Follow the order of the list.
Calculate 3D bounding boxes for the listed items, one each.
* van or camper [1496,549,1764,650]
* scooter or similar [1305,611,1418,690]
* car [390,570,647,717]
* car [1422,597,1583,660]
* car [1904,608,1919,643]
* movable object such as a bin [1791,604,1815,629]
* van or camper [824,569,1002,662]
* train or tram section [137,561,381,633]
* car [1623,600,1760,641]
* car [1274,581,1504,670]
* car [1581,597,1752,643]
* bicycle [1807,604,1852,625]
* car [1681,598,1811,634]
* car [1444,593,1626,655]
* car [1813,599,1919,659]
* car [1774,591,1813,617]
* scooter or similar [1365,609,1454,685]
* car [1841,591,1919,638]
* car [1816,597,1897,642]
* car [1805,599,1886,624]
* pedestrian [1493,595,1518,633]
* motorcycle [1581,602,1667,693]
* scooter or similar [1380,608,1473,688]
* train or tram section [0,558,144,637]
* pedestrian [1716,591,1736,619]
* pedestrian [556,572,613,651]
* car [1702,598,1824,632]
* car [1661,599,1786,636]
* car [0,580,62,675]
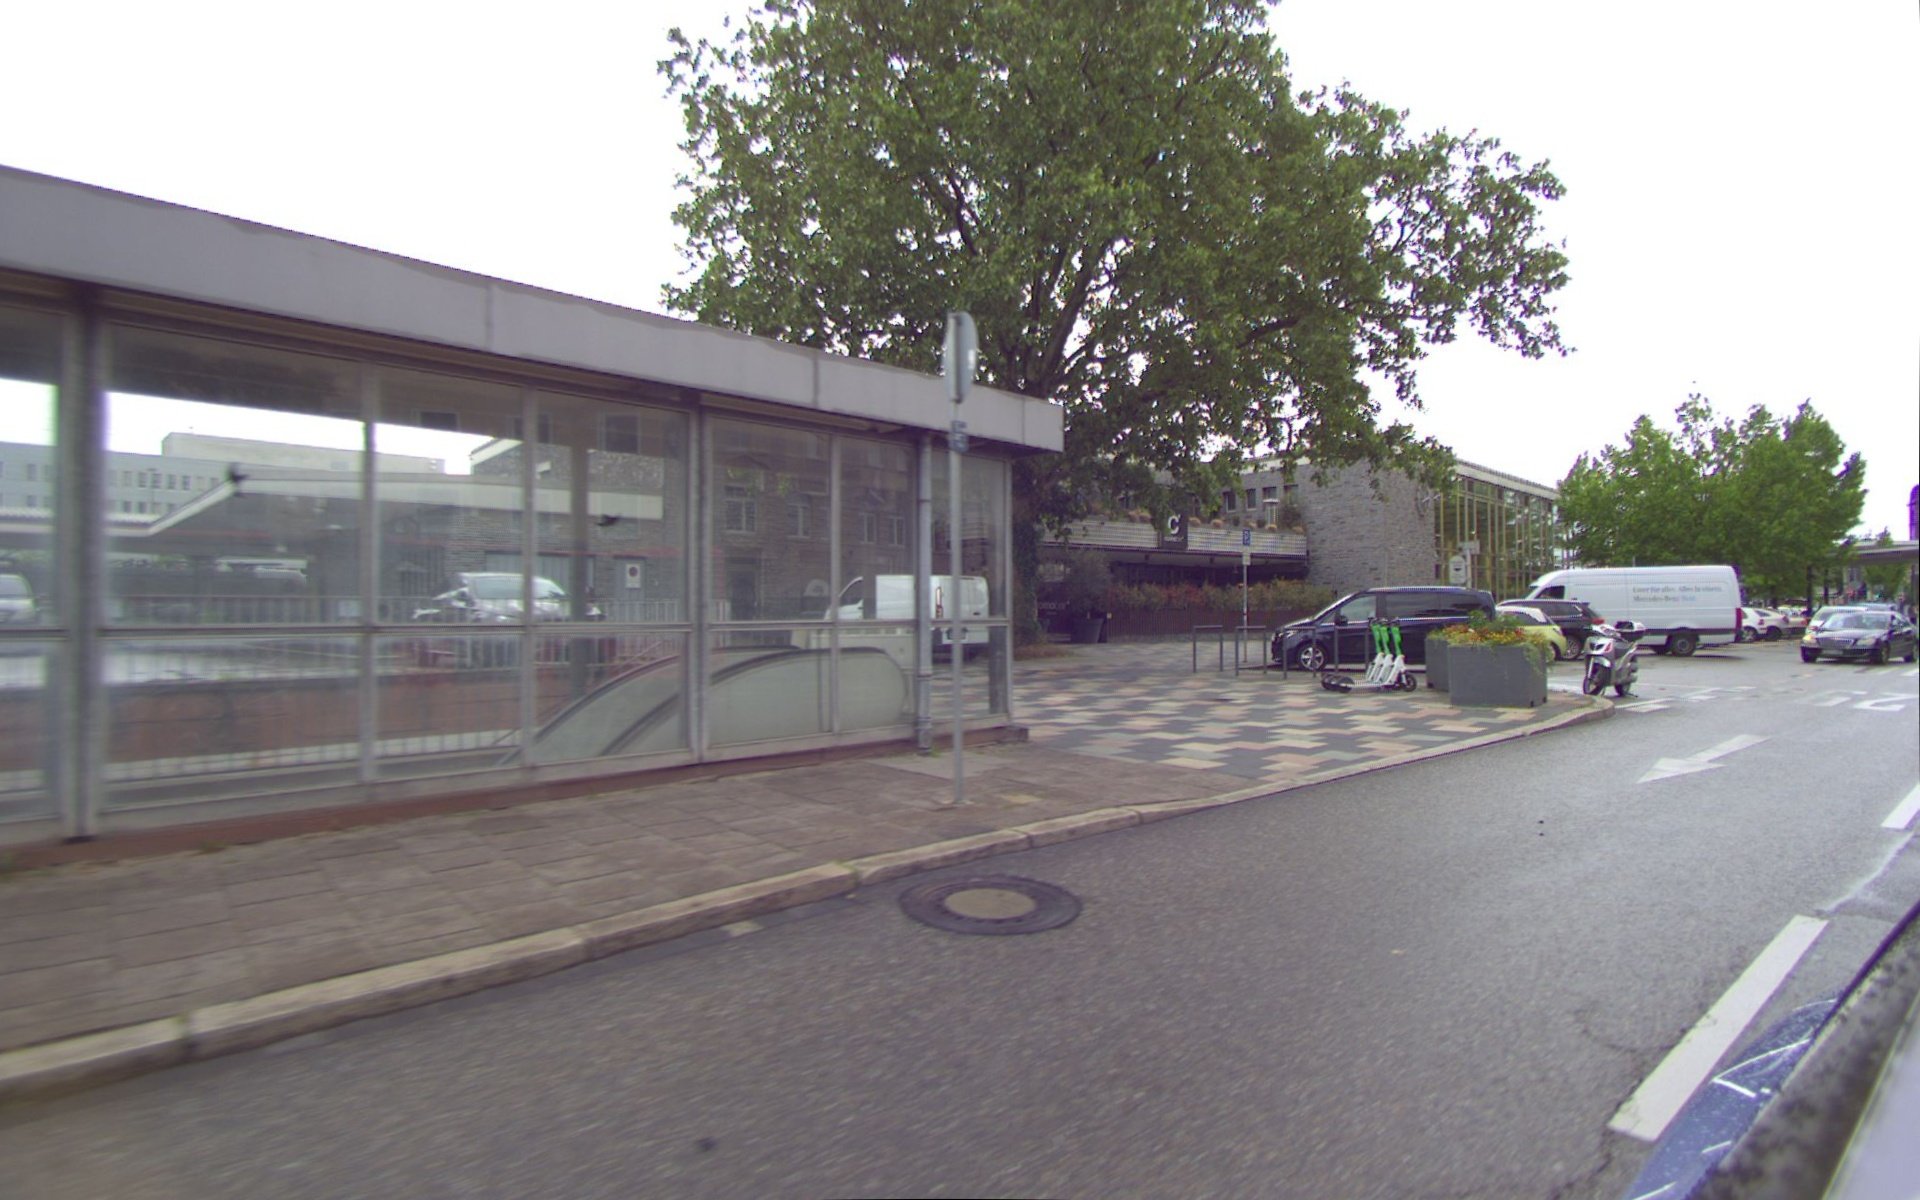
[{"bbox_3d":[20.271,-0.041,31.057,6.445,2.906,2.266,0,0,19],"label":"van or camper"},{"bbox_3d":[6.526,0.781,16.438,1.638,1.170,1.066,-1,0,-41],"label":"scooter or similar"},{"bbox_3d":[-6.881,0.544,15.509,2.075,1.898,4.686,0,0,-45],"label":"car"},{"bbox_3d":[14.129,0.706,26.576,3.549,1.544,1.749,0,0,23],"label":"car"},{"bbox_3d":[43.258,1.117,44.882,3.525,1.493,1.660,0,0,-40],"label":"car"},{"bbox_3d":[39.114,0.772,46.975,0.686,1.122,0.542,-6,-3,33],"label":"movable object such as a bin"},{"bbox_3d":[-1.202,0.319,24.240,1.987,2.016,4.282,0,0,-43],"label":"van or camper"},{"bbox_3d":[-38.087,-0.193,55.480,2.740,3.648,10.755,0,0,45],"label":"train or tram section"},{"bbox_3d":[26.333,0.707,36.583,3.643,1.417,1.768,0,0,20],"label":"car"},{"bbox_3d":[9.661,0.519,23.250,4.635,1.898,2.098,0,0,17],"label":"car"},{"bbox_3d":[24.089,0.640,34.703,4.412,1.490,1.908,0,0,19],"label":"car"},{"bbox_3d":[43.083,0.723,50.165,1.690,1.059,0.524,0,0,7],"label":"bicycle"},{"bbox_3d":[32.623,0.647,42.135,3.881,1.417,1.768,0,0,20],"label":"car"},{"bbox_3d":[16.154,0.637,28.695,4.183,1.655,1.872,0,0,20],"label":"car"},{"bbox_3d":[24.576,0.731,27.218,3.757,1.493,1.871,0,0,-40],"label":"car"},{"bbox_3d":[59.496,0.301,72.260,1.810,1.576,4.403,-9,-7,37],"label":"car"},{"bbox_3d":[7.252,0.753,16.335,1.237,1.170,0.414,-1,-2,-10],"label":"scooter or similar"},{"bbox_3d":[35.669,0.525,39.073,4.337,1.704,1.823,0,0,-40],"label":"car"},{"bbox_3d":[31.450,0.633,35.461,3.525,1.493,1.660,0,0,-40],"label":"car"},{"bbox_3d":[57.014,0.702,65.259,1.789,1.510,4.153,0,0,5],"label":"car"},{"bbox_3d":[24.130,0.618,44.768,0.819,1.662,0.757,0,0,-43],"label":"pedestrian"},{"bbox_3d":[10.728,0.727,16.322,2.072,1.369,0.644,0,0,-41],"label":"motorcycle"},{"bbox_3d":[7.329,0.747,15.911,1.237,1.170,0.414,-2,-2,-10],"label":"scooter or similar"},{"bbox_3d":[-45.618,-0.114,47.878,10.753,3.648,2.741,-1,0,-45],"label":"train or tram section"},{"bbox_3d":[49.170,0.323,64.974,0.896,1.780,0.824,0,0,-37],"label":"pedestrian"},{"bbox_3d":[-8.657,0.250,23.338,0.980,1.770,0.878,0,0,-41],"label":"pedestrian"},{"bbox_3d":[35.250,0.632,44.544,3.893,1.417,1.763,0,0,27],"label":"car"},{"bbox_3d":[30.325,0.668,40.329,3.574,1.417,1.768,0,0,20],"label":"car"},{"bbox_3d":[-20.925,0.538,21.792,2.070,1.898,4.696,0,0,-38],"label":"car"}]
